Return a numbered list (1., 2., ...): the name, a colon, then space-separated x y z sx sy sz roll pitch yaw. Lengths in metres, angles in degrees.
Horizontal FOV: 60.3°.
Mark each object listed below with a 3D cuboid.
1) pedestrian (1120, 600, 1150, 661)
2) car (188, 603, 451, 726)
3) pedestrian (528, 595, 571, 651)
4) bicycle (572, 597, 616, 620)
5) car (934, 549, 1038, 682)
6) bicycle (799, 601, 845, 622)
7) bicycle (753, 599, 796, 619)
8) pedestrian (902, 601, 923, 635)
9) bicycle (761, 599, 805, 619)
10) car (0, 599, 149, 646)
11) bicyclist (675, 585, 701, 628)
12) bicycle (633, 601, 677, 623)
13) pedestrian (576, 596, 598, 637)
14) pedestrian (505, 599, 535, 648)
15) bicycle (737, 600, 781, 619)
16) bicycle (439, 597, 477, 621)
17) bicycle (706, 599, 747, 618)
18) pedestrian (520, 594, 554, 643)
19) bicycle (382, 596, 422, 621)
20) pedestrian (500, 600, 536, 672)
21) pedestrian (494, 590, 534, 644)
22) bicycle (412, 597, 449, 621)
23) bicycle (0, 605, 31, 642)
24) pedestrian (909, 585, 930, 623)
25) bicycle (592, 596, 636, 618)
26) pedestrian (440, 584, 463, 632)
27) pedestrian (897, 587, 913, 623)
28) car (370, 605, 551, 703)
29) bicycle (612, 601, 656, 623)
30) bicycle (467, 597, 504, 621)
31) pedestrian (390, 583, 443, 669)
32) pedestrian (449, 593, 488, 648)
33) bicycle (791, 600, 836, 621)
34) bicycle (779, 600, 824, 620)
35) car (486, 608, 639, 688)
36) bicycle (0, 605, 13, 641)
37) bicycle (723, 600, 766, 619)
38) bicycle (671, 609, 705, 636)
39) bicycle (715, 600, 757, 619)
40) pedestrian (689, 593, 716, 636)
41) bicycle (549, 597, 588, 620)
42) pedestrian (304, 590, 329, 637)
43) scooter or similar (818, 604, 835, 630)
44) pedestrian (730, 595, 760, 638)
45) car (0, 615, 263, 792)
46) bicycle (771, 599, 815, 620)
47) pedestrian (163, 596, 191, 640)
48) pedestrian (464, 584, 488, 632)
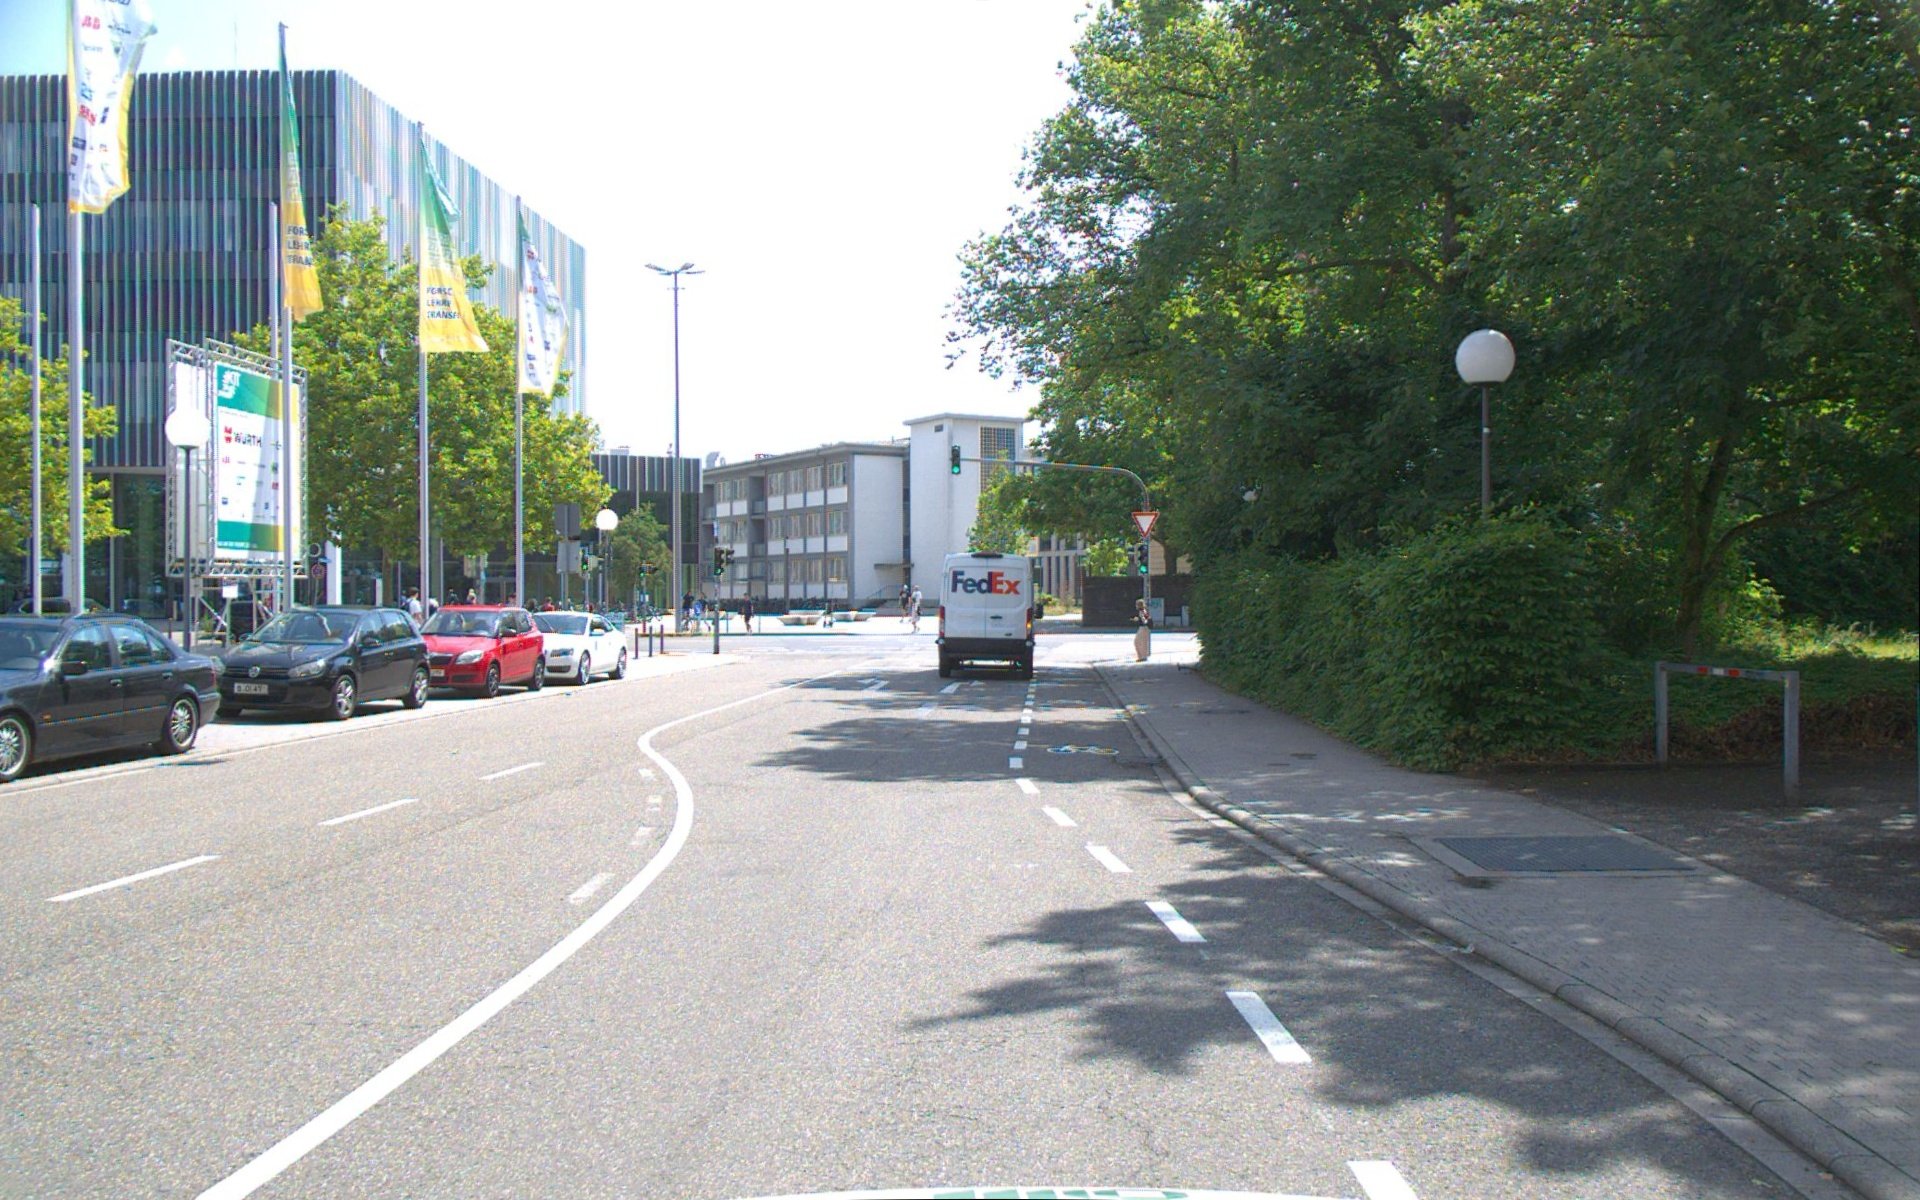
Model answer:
1. pedestrian: 4.680 0.816 44.310 0.716 1.603 0.776 1 0 2
2. car: -8.750 0.817 23.018 1.711 1.493 4.198 2 0 5
3. pedestrian: -13.632 0.761 54.930 0.789 1.839 1.267 -1 0 22
4. bicycle: -20.656 0.496 93.336 1.191 1.259 2.906 1 0 -42
5. car: 0.638 0.299 35.783 2.051 2.611 5.604 -1 0 2
6. bicycle: -9.307 0.806 111.692 2.930 1.387 1.103 1 0 -35
7. bicycle: -13.177 0.654 117.501 2.930 1.387 1.103 1 0 -35
8. pedestrian: -2.186 0.810 75.967 0.811 1.550 0.811 0 0 -16
9. bicycle: -12.458 0.652 116.406 2.930 1.387 1.103 1 0 -35
10. car: -32.475 0.814 60.635 4.708 1.690 1.654 -1 0 4
11. bicyclist: -11.795 0.287 71.847 0.772 1.849 1.000 -1 0 13
12. bicycle: -17.656 0.677 95.676 1.191 1.259 2.906 1 0 -42
13. pedestrian: -15.938 0.706 70.663 0.738 1.708 0.755 -1 0 1
14. pedestrian: -14.745 0.780 55.442 0.754 1.626 0.799 -1 0 5
15. bicycle: -14.536 0.685 119.652 2.930 1.387 1.103 1 0 -35
16. bicycle: -26.845 0.493 88.429 1.185 1.259 2.918 1 0 -32
17. bicycle: -17.658 0.665 125.046 2.930 1.387 1.103 1 0 -35
18. pedestrian: -14.731 0.649 57.630 0.808 1.683 0.862 0 0 20
19. bicycle: -29.262 0.440 86.682 1.360 1.259 2.919 1 0 -32
20. pedestrian: -11.625 0.935 43.517 0.704 1.892 0.770 0 0 5
21. pedestrian: -15.734 0.594 58.313 0.844 1.850 1.095 -1 0 26
22. bicycle: -28.007 0.455 87.427 1.185 1.259 2.919 1 0 -31
23. bicycle: -50.001 1.217 86.518 0.939 1.871 2.953 0 0 6
24. pedestrian: -2.080 0.201 84.562 0.851 1.922 0.909 0 0 -16
25. bicycle: -19.730 0.395 94.205 1.191 1.259 2.906 1 0 -42
26. pedestrian: -28.024 0.424 91.214 0.964 2.610 1.003 1 -1 -33
27. pedestrian: -2.831 0.237 85.329 0.658 1.847 0.812 0 0 -16
28. car: -8.410 0.864 28.207 1.641 1.493 3.912 2 0 4
29. bicycle: -18.716 0.674 94.934 1.191 1.259 2.906 1 0 -42
30. bicycle: -25.590 0.481 89.162 1.186 1.259 2.918 1 0 -32
31. pedestrian: -12.117 0.575 36.883 0.704 1.883 1.089 1 0 7
32. pedestrian: -17.172 0.707 57.798 0.836 1.909 1.005 -1 0 26
33. bicycle: -9.975 0.697 112.829 2.930 1.387 1.103 1 0 -35
34. bicycle: -10.935 0.694 114.145 2.930 1.387 1.260 1 0 -35
35. car: -7.903 0.908 33.337 1.641 1.420 4.664 2 0 4
36. bicycle: -51.060 1.209 86.665 0.939 1.871 2.953 0 0 6
37. bicycle: -15.838 0.682 121.620 2.930 1.387 1.103 1 0 -35
38. bicycle: -11.802 0.975 71.860 0.754 1.142 2.028 -1 0 13
39. bicycle: -16.641 0.681 123.147 2.930 1.387 1.103 1 0 -35
40. pedestrian: -11.640 0.648 74.798 0.687 1.887 1.400 -1 1 12
41. bicycle: -21.956 0.482 92.803 1.186 1.259 2.916 1 0 -34
42. pedestrian: -36.133 0.775 92.839 0.952 2.610 1.015 0 -1 3
43. scooter or similar: -6.397 0.792 79.073 0.703 1.198 2.721 0 1 -7
44. pedestrian: -9.568 0.721 73.636 0.813 1.903 1.083 -1 0 26
45. car: -8.822 0.892 15.813 1.820 1.402 5.019 2 0 5
46. bicycle: -11.640 0.660 115.198 2.930 1.387 1.103 1 0 -35
47. pedestrian: -42.592 0.979 89.957 0.952 2.387 1.015 0 -1 3
48. pedestrian: -26.869 0.442 91.865 0.966 2.610 1.000 1 -1 -40
